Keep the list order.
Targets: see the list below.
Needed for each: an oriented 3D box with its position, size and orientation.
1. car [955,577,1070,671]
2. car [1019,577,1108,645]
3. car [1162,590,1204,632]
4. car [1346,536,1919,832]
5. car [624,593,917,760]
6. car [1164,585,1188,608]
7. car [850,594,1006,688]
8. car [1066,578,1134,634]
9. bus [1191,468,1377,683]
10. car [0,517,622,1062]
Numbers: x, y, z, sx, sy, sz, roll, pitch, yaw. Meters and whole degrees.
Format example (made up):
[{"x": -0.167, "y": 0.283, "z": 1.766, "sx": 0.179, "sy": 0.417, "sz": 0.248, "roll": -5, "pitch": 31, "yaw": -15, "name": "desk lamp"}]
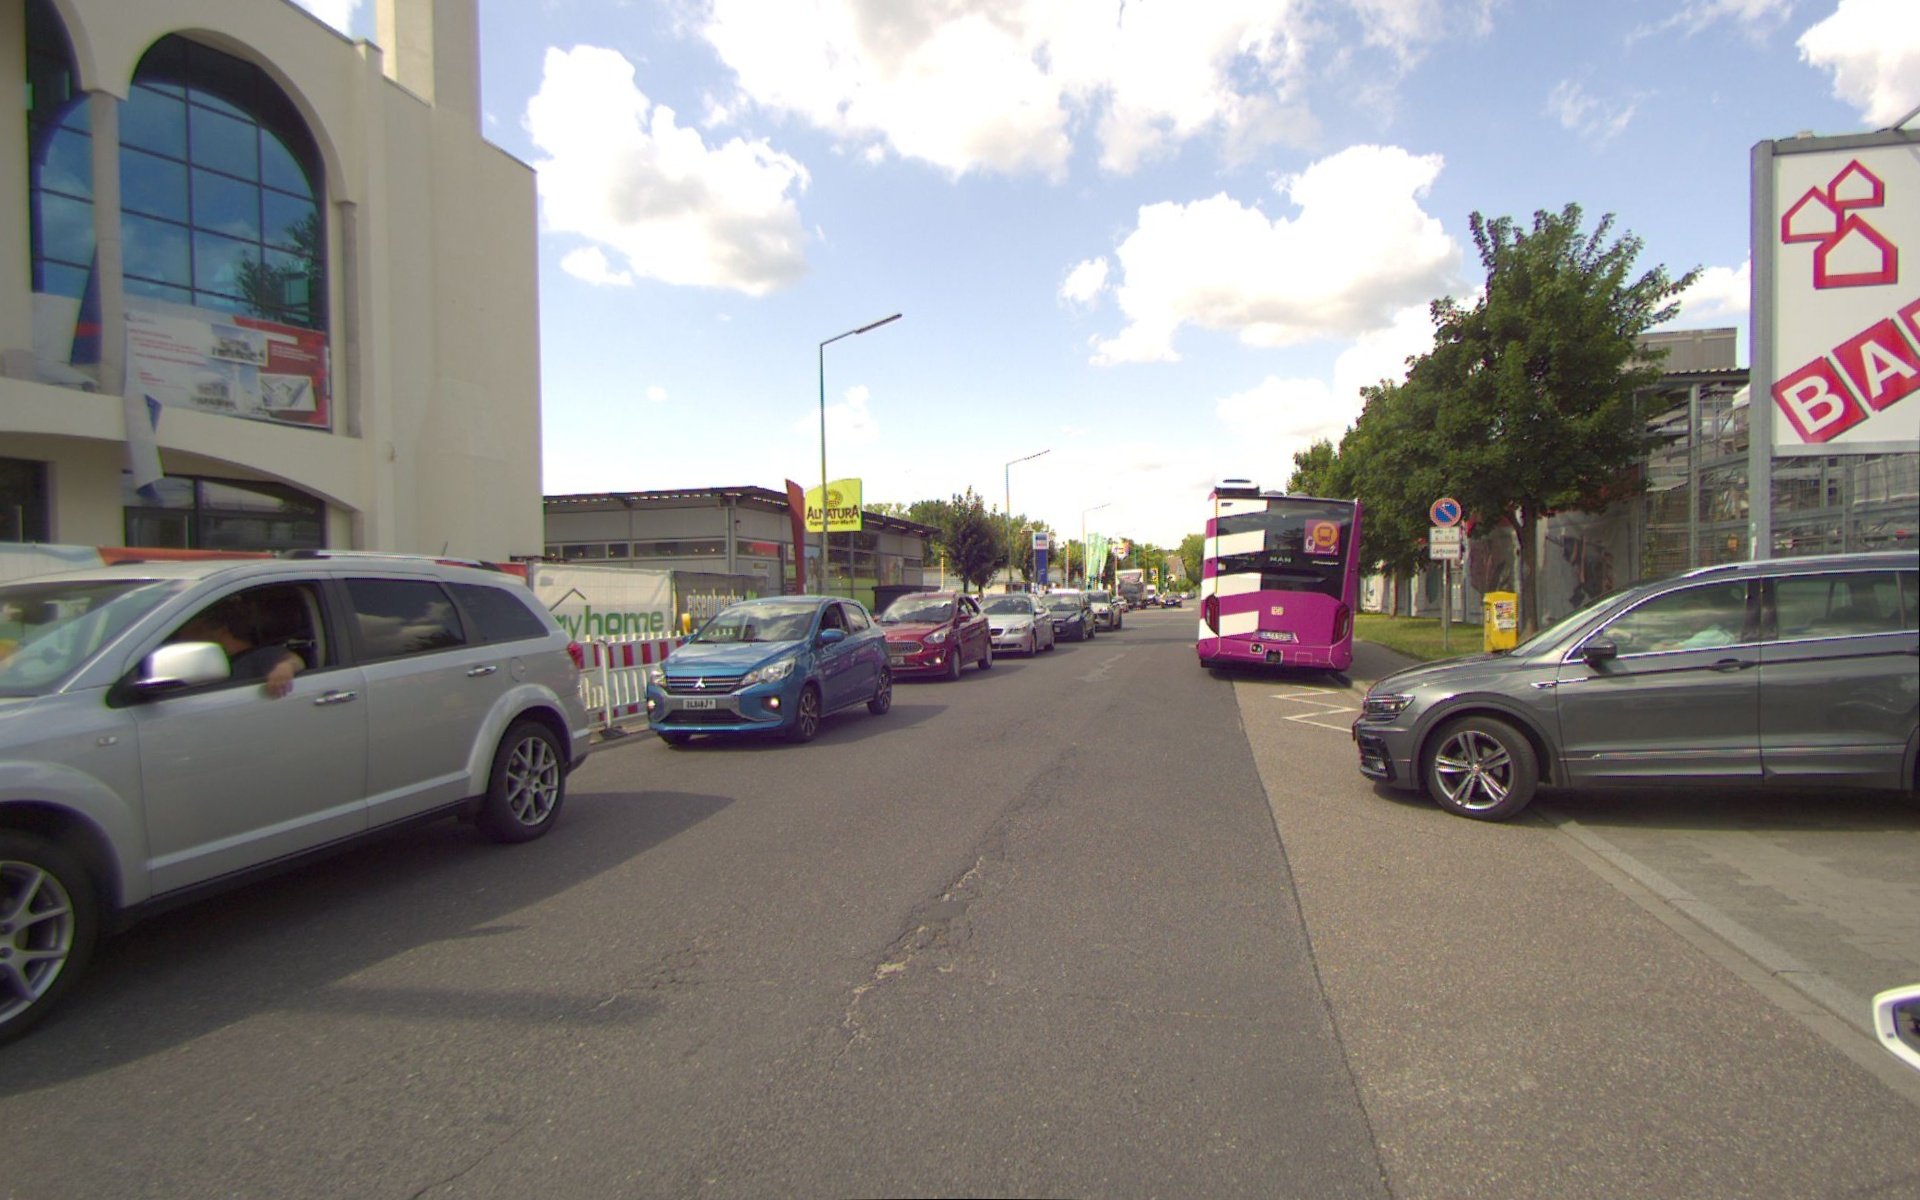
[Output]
[{"x": 1.374, "y": 0.517, "z": 24.185, "sx": 1.885, "sy": 2.040, "sz": 4.461, "roll": -1, "pitch": 0, "yaw": 15, "name": "car"}, {"x": 3.350, "y": 0.318, "z": 31.646, "sx": 1.960, "sy": 1.939, "sz": 4.790, "roll": -1, "pitch": 0, "yaw": 16, "name": "car"}, {"x": 10.096, "y": 0.479, "z": 45.358, "sx": 1.649, "sy": 1.752, "sz": 4.002, "roll": 2, "pitch": 0, "yaw": 15, "name": "car"}, {"x": 5.072, "y": 0.518, "z": 6.906, "sx": 4.305, "sy": 1.688, "sz": 1.767, "roll": -3, "pitch": -1, "yaw": 26, "name": "car"}, {"x": -1.887, "y": 0.703, "z": 11.441, "sx": 1.663, "sy": 1.534, "sz": 4.198, "roll": -1, "pitch": 0, "yaw": 14, "name": "car"}, {"x": 19.886, "y": -0.350, "z": 92.330, "sx": 1.960, "sy": 2.040, "sz": 4.001, "roll": -1, "pitch": 0, "yaw": 15, "name": "car"}, {"x": -0.450, "y": 0.662, "z": 18.495, "sx": 1.756, "sy": 1.529, "sz": 4.195, "roll": -1, "pitch": 0, "yaw": 14, "name": "car"}, {"x": 5.563, "y": 0.213, "z": 39.468, "sx": 1.960, "sy": 2.040, "sz": 4.790, "roll": -1, "pitch": 0, "yaw": 16, "name": "car"}, {"x": 6.658, "y": -0.395, "z": 21.897, "sx": 2.835, "sy": 3.409, "sz": 11.573, "roll": -1, "pitch": 0, "yaw": 14, "name": "bus"}, {"x": -3.696, "y": 0.640, "z": 4.708, "sx": 1.830, "sy": 1.722, "sz": 4.842, "roll": -2, "pitch": -1, "yaw": 11, "name": "car"}]
